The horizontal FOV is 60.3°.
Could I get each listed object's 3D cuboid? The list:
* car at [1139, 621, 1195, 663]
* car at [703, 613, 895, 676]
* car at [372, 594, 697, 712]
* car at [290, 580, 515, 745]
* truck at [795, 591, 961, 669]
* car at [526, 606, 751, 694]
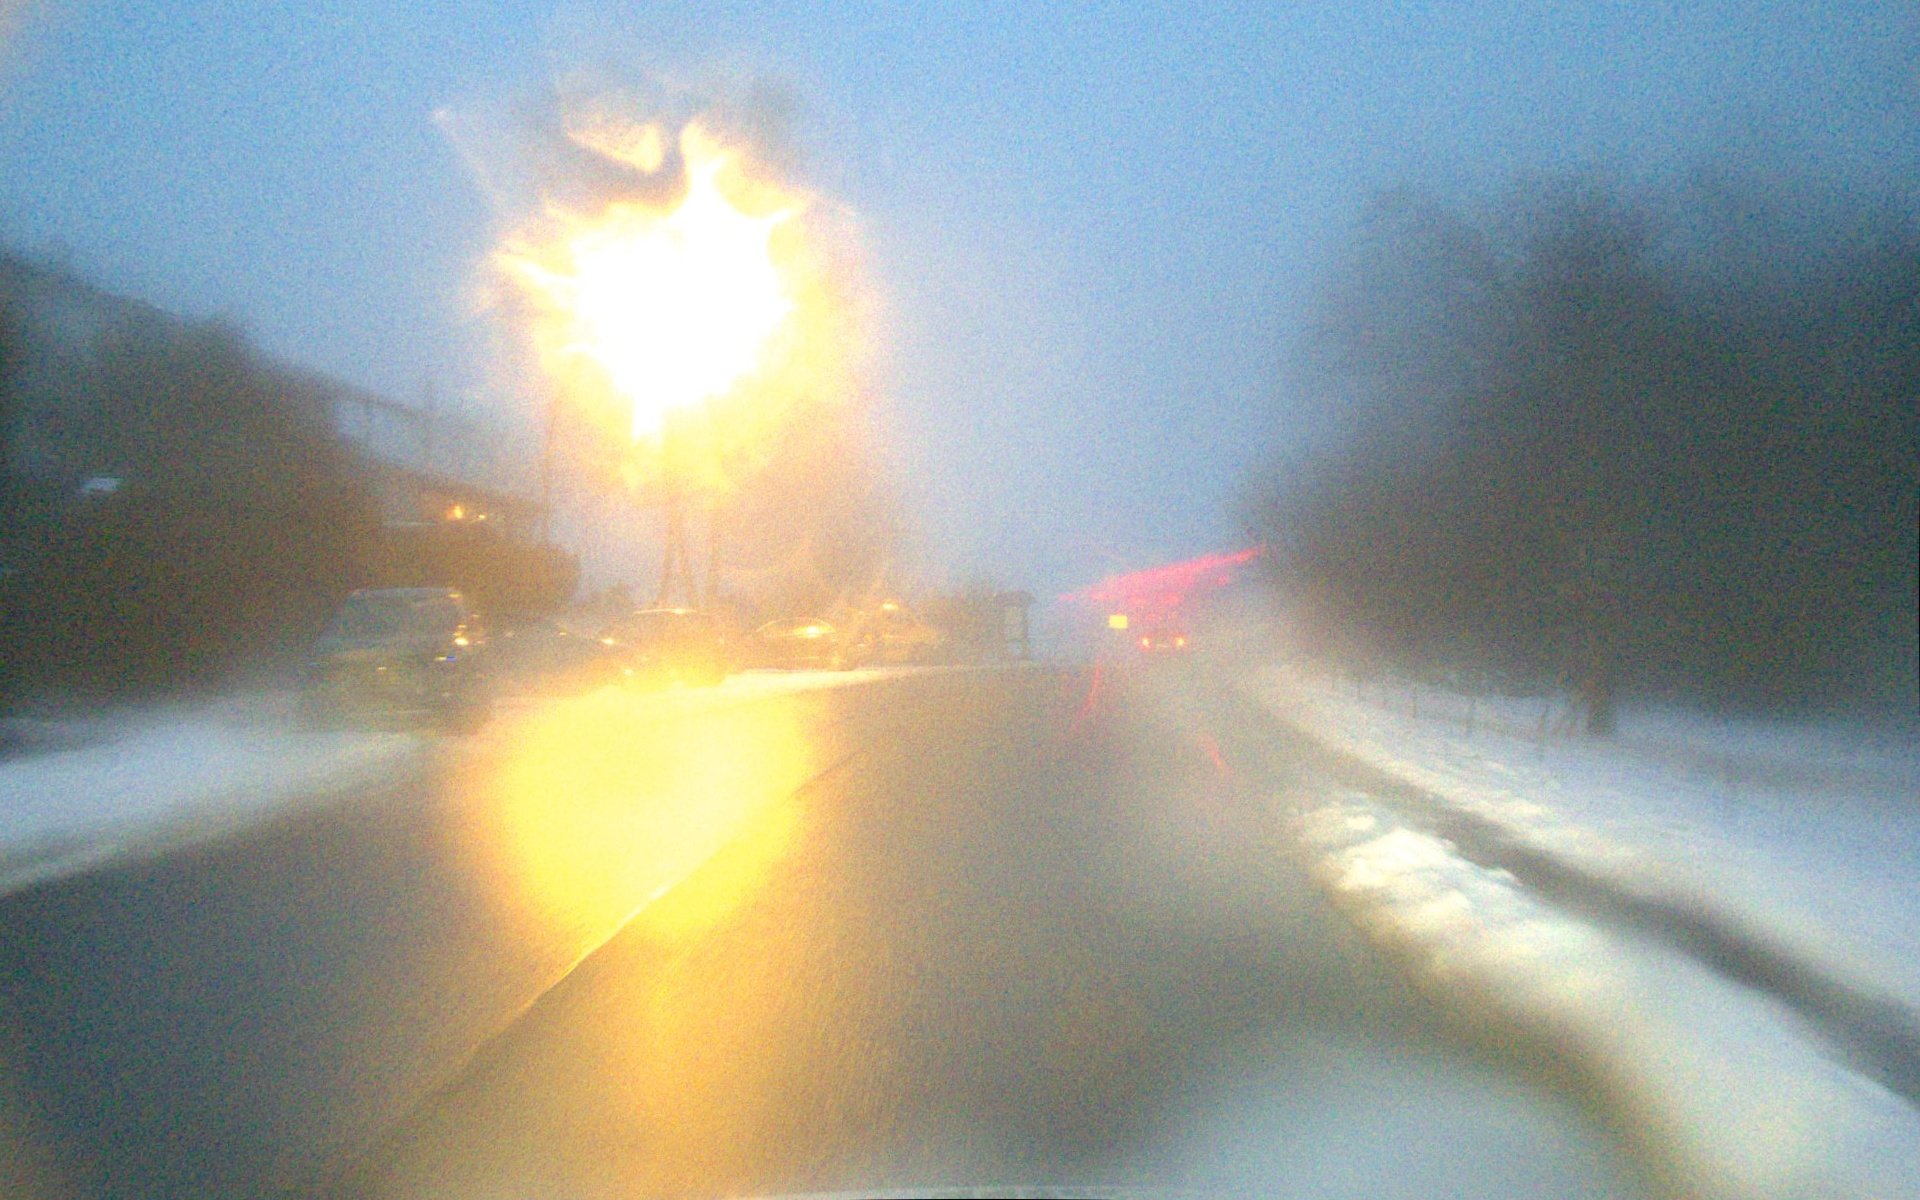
[{"bbox_3d":[7.604,1.583,61.069,1.951,1.445,4.002,1,-2,6],"label":"car"},{"bbox_3d":[-4.261,1.182,44.305,4.784,1.511,2.124,-2,-1,4],"label":"car"},{"bbox_3d":[-6.373,0.783,25.241,4.438,1.594,2.109,-2,-1,-4],"label":"car"},{"bbox_3d":[-6.381,0.699,19.465,1.959,1.593,4.980,-2,-1,-13],"label":"car"},{"bbox_3d":[-2.641,0.975,54.005,5.151,2.343,2.001,-2,-1,4],"label":"truck"},{"bbox_3d":[-5.973,0.923,31.055,3.775,1.497,1.939,-2,-1,1],"label":"car"}]
